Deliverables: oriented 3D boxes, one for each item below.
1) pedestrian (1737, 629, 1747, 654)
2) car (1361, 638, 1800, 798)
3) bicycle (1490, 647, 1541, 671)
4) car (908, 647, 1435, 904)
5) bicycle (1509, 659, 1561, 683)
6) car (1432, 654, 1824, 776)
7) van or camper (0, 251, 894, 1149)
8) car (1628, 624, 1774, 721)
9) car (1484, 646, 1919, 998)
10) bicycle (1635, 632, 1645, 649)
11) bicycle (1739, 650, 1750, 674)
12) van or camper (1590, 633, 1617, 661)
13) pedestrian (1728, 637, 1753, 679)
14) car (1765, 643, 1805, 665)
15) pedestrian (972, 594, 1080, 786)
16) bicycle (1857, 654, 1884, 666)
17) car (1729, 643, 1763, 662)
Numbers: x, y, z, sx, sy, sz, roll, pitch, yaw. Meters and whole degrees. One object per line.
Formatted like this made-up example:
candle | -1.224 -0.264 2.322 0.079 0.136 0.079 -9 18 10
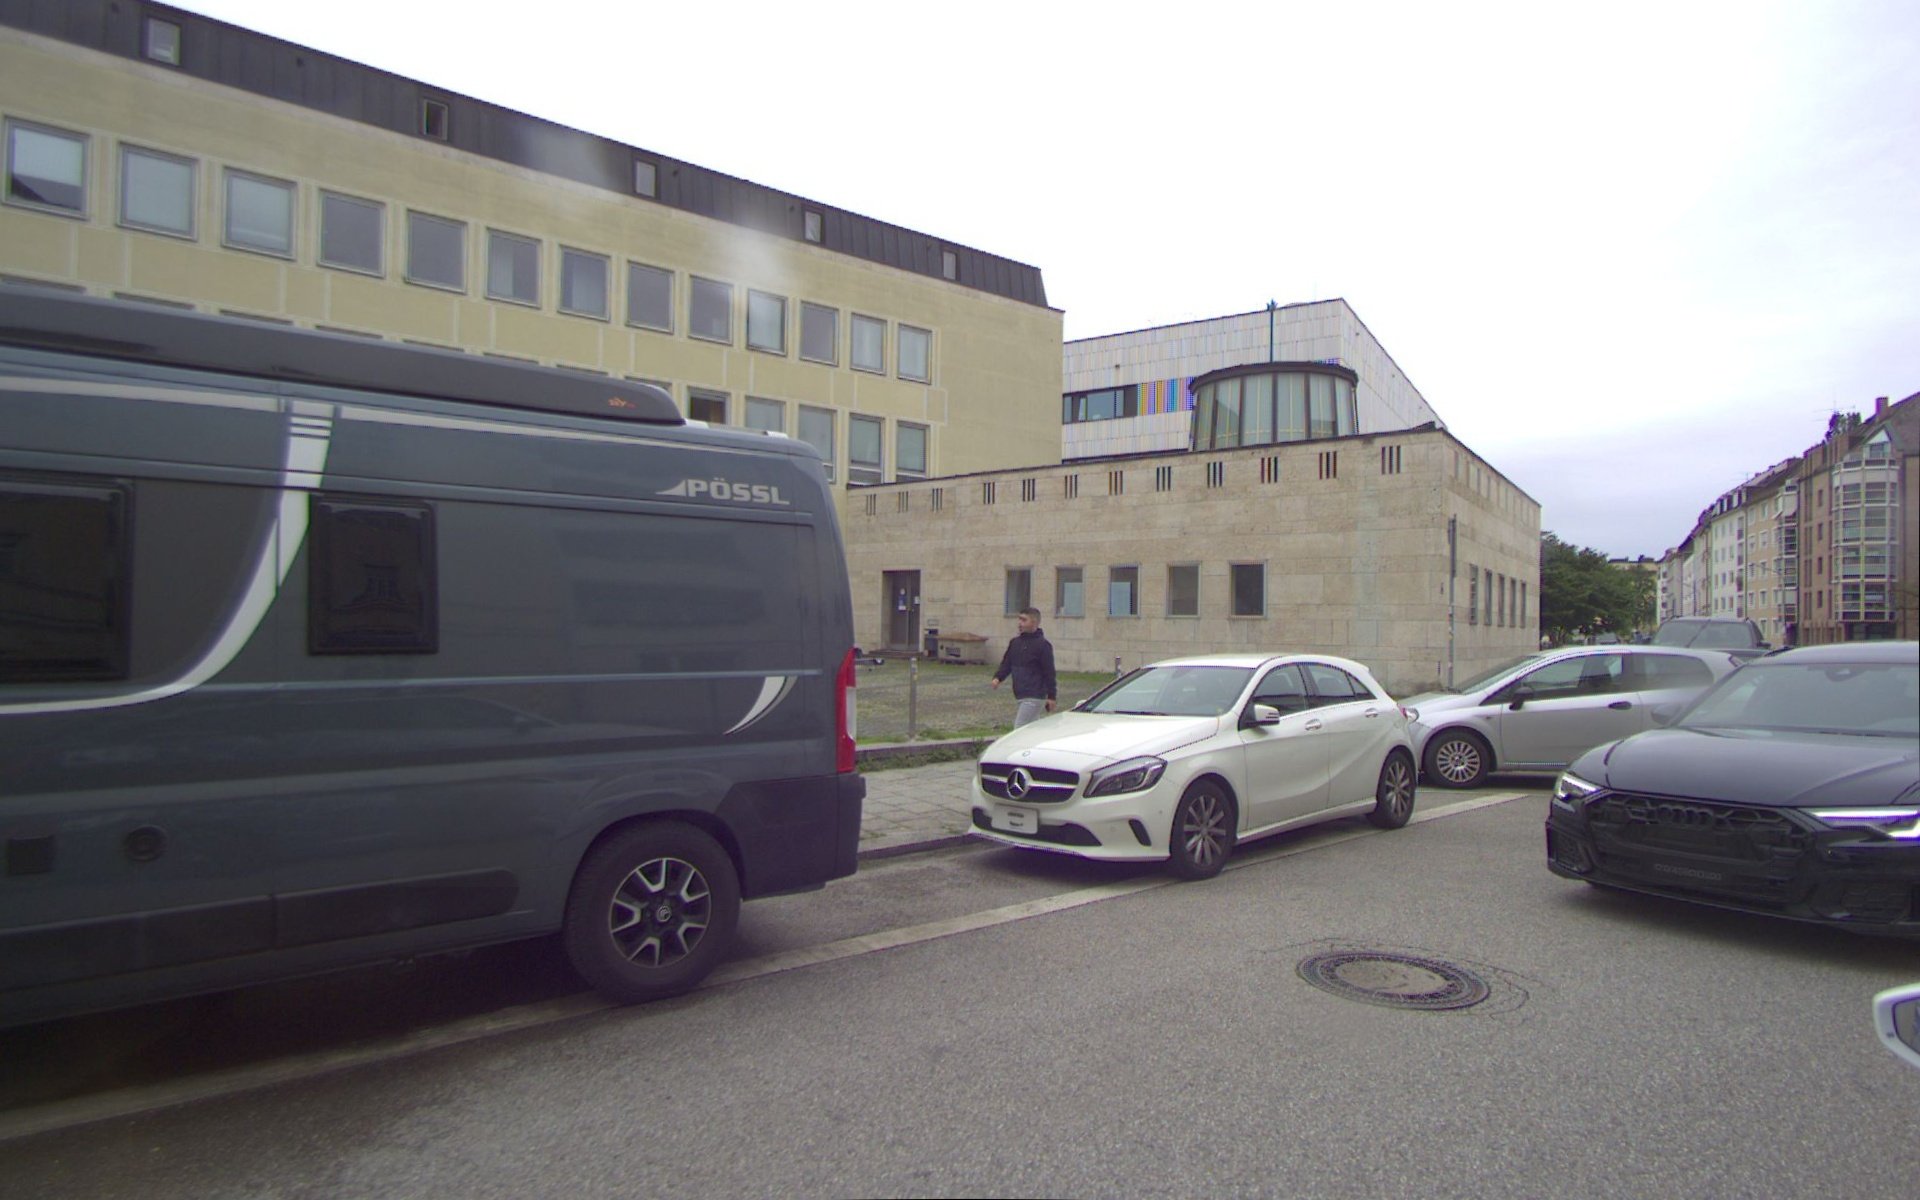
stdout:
pedestrian | 48.513 2.581 62.287 0.456 1.479 0.441 1 -2 39
car | 6.482 1.217 10.998 3.733 1.527 1.715 -1 -3 18
bicycle | 25.451 2.678 46.060 1.999 0.897 0.674 4 1 28
car | 1.829 1.124 7.932 4.183 1.469 1.976 2 -4 -41
bicycle | 27.624 3.412 48.313 2.083 0.890 0.828 4 1 28
car | 8.576 1.456 13.325 3.918 1.439 1.815 -1 -3 17
van or camper | -3.389 0.331 3.916 6.029 2.615 2.281 2 -4 -37
car | 15.607 1.457 21.051 2.029 1.759 4.861 0 -2 42
car | 5.497 1.004 6.071 4.647 1.430 1.912 2 -3 -29
bicycle | 94.008 5.641 138.846 1.011 2.039 3.276 1 -6 32
bicycle | 34.282 2.709 43.894 0.384 0.982 1.708 0 -2 38
van or camper | 63.023 4.556 98.424 2.067 2.585 4.762 1 -1 31
pedestrian | 33.985 2.518 43.741 0.914 1.792 0.728 2 -2 -42
car | 62.313 4.043 75.890 1.608 1.503 3.605 1 -1 28
pedestrian | 0.687 0.891 10.424 0.832 1.891 0.711 1 -1 39
bicycle | 70.856 4.631 78.172 1.084 0.865 1.726 1 -1 25
car | 66.799 4.429 85.401 1.608 1.503 3.605 1 -1 28
